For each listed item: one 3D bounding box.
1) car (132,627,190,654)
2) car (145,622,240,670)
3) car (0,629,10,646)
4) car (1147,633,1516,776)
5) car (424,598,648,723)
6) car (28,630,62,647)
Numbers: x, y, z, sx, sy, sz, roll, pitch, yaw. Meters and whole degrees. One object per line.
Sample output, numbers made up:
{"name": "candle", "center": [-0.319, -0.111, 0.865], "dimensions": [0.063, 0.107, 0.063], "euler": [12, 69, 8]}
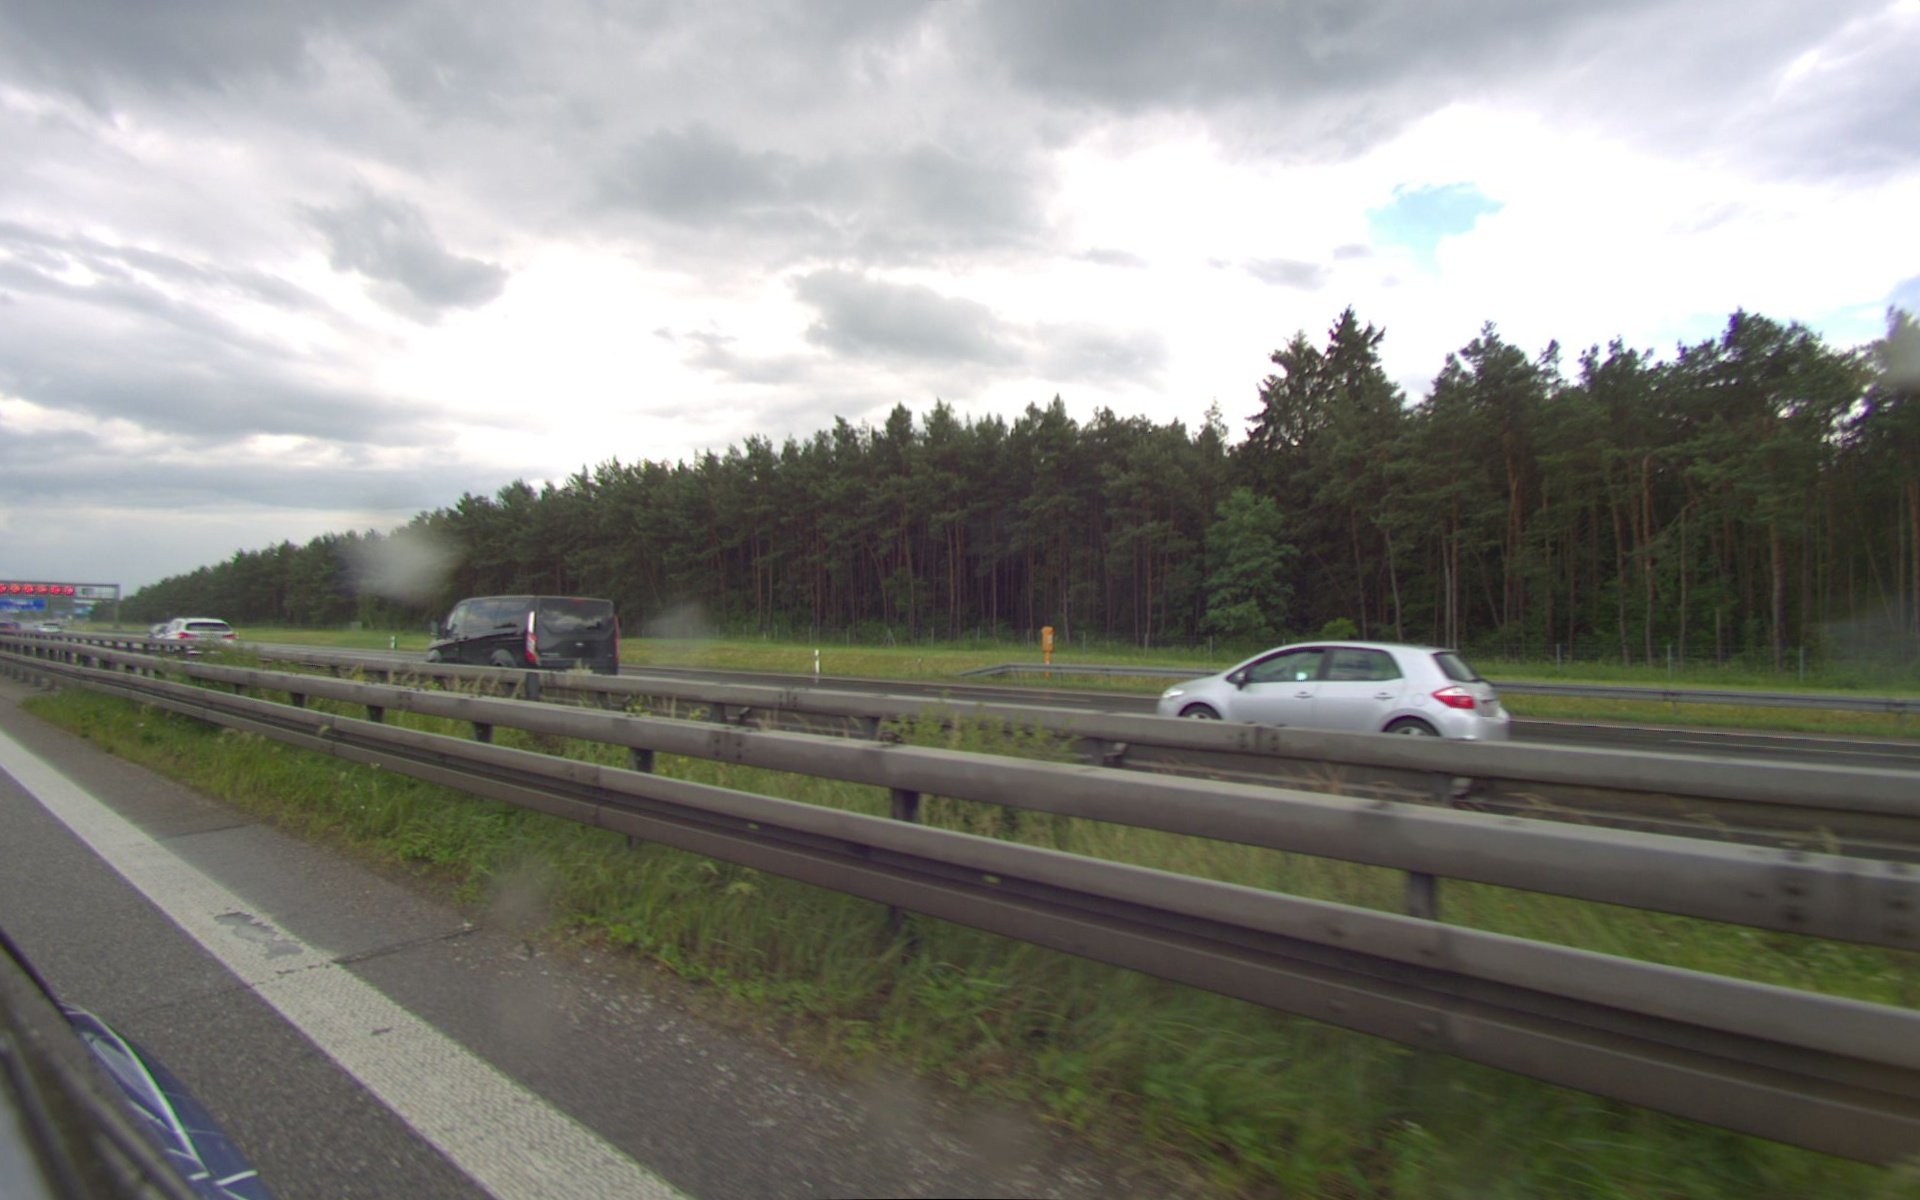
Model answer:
{"name": "car", "center": [-45.155, 2.282, 57.192], "dimensions": [4.234, 1.433, 1.792], "euler": [-1, -4, 41]}
{"name": "car", "center": [-27.423, 1.611, 36.120], "dimensions": [4.488, 1.601, 1.840], "euler": [-1, -2, 41]}
{"name": "car", "center": [-84.429, 3.260, 88.306], "dimensions": [4.090, 1.399, 1.710], "euler": [-1, -4, 41]}
{"name": "car", "center": [4.509, 1.170, 12.635], "dimensions": [3.998, 1.499, 1.680], "euler": [-2, -3, 41]}
{"name": "car", "center": [-7.934, 1.049, 18.743], "dimensions": [4.624, 2.029, 1.973], "euler": [-1, -2, 41]}
{"name": "car", "center": [-83.184, 3.455, 91.987], "dimensions": [3.997, 1.492, 1.710], "euler": [-1, -3, 41]}
